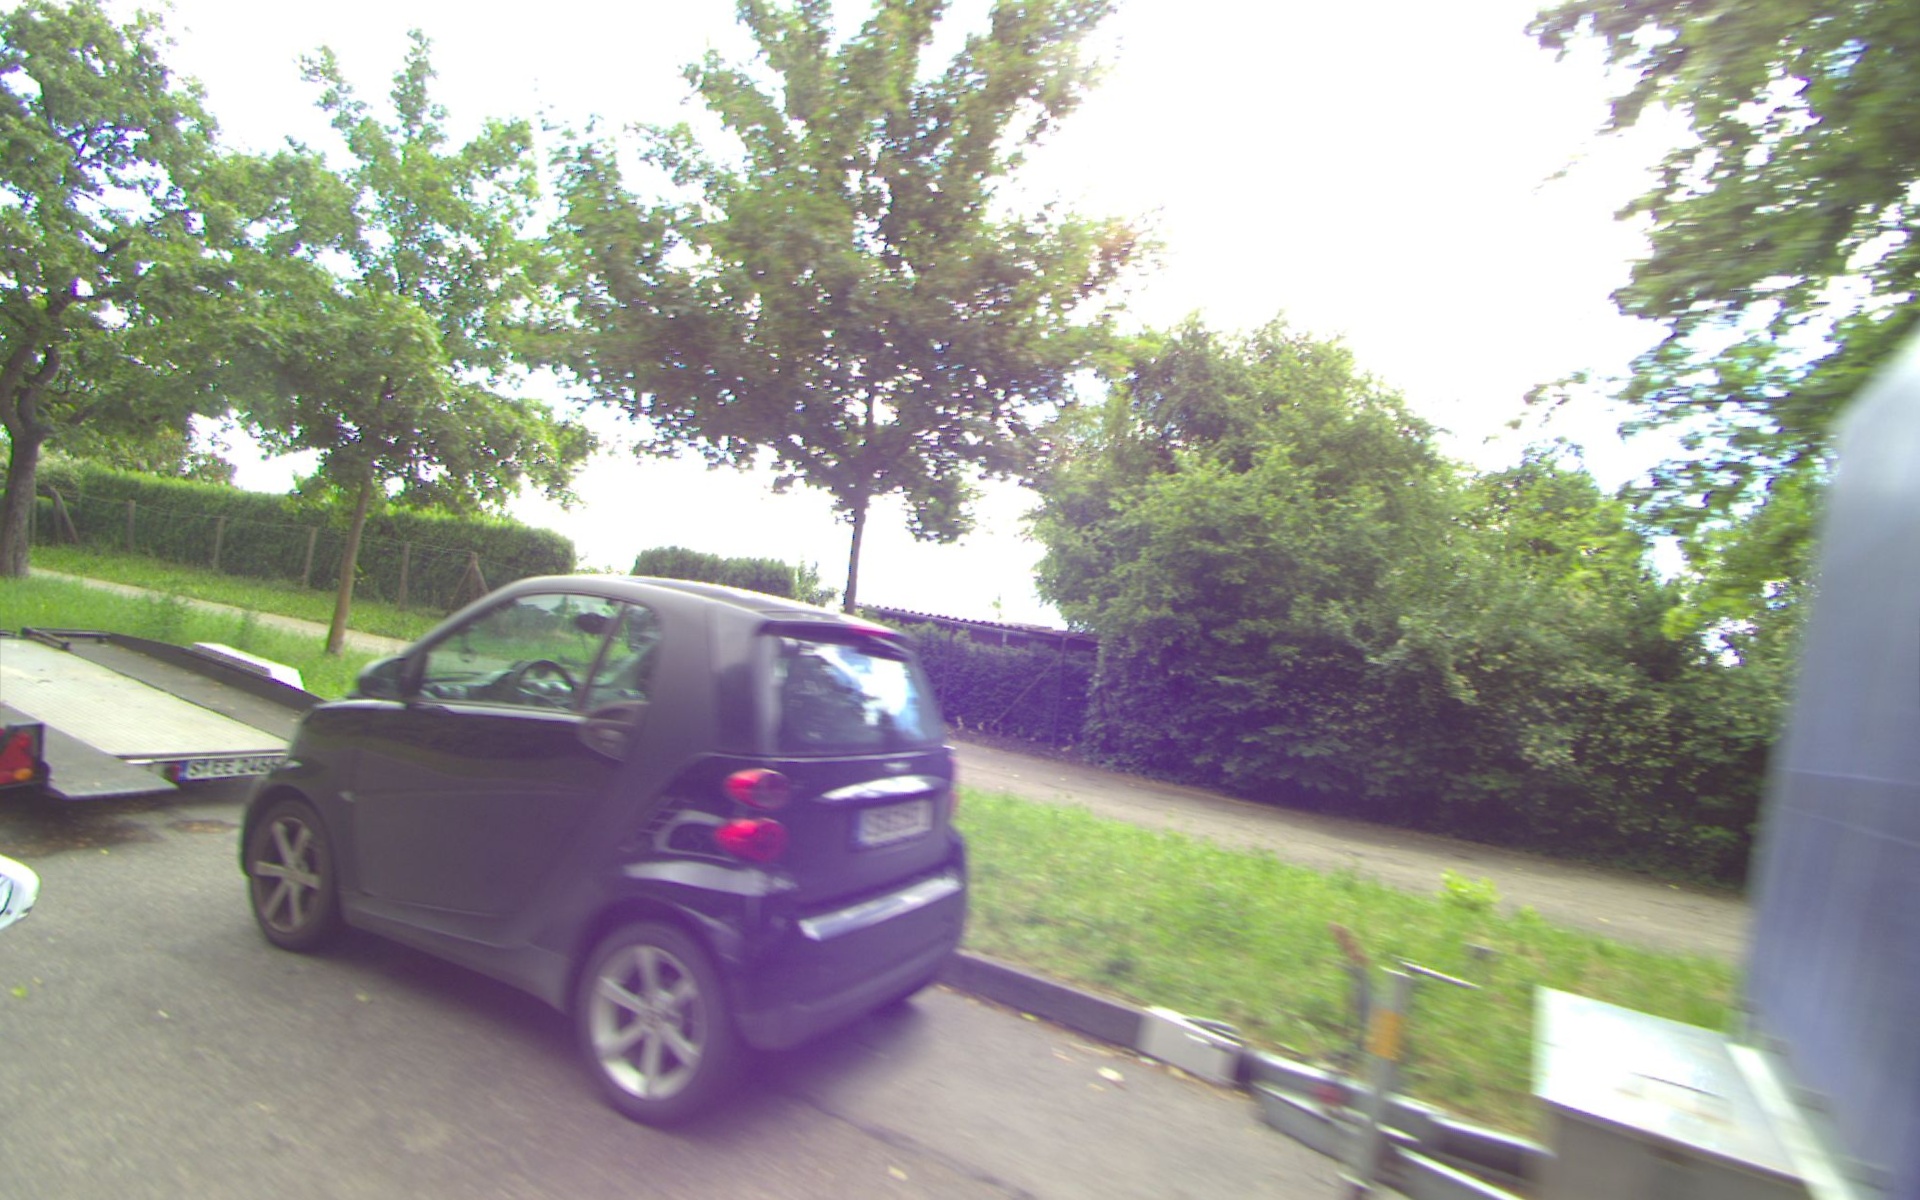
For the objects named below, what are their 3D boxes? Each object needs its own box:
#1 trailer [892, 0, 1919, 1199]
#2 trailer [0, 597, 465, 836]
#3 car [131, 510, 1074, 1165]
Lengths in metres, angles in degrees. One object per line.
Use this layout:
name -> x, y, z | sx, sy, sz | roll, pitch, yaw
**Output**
trailer -> 2.488, 0.629, 1.596 | 4.621, 2.390, 2.111 | 9, 0, 30
trailer -> -6.333, 0.482, 6.622 | 6.288, 0.658, 2.112 | 6, -4, 26
car -> -1.488, 0.624, 4.139 | 3.347, 1.539, 1.735 | 5, -4, 29
